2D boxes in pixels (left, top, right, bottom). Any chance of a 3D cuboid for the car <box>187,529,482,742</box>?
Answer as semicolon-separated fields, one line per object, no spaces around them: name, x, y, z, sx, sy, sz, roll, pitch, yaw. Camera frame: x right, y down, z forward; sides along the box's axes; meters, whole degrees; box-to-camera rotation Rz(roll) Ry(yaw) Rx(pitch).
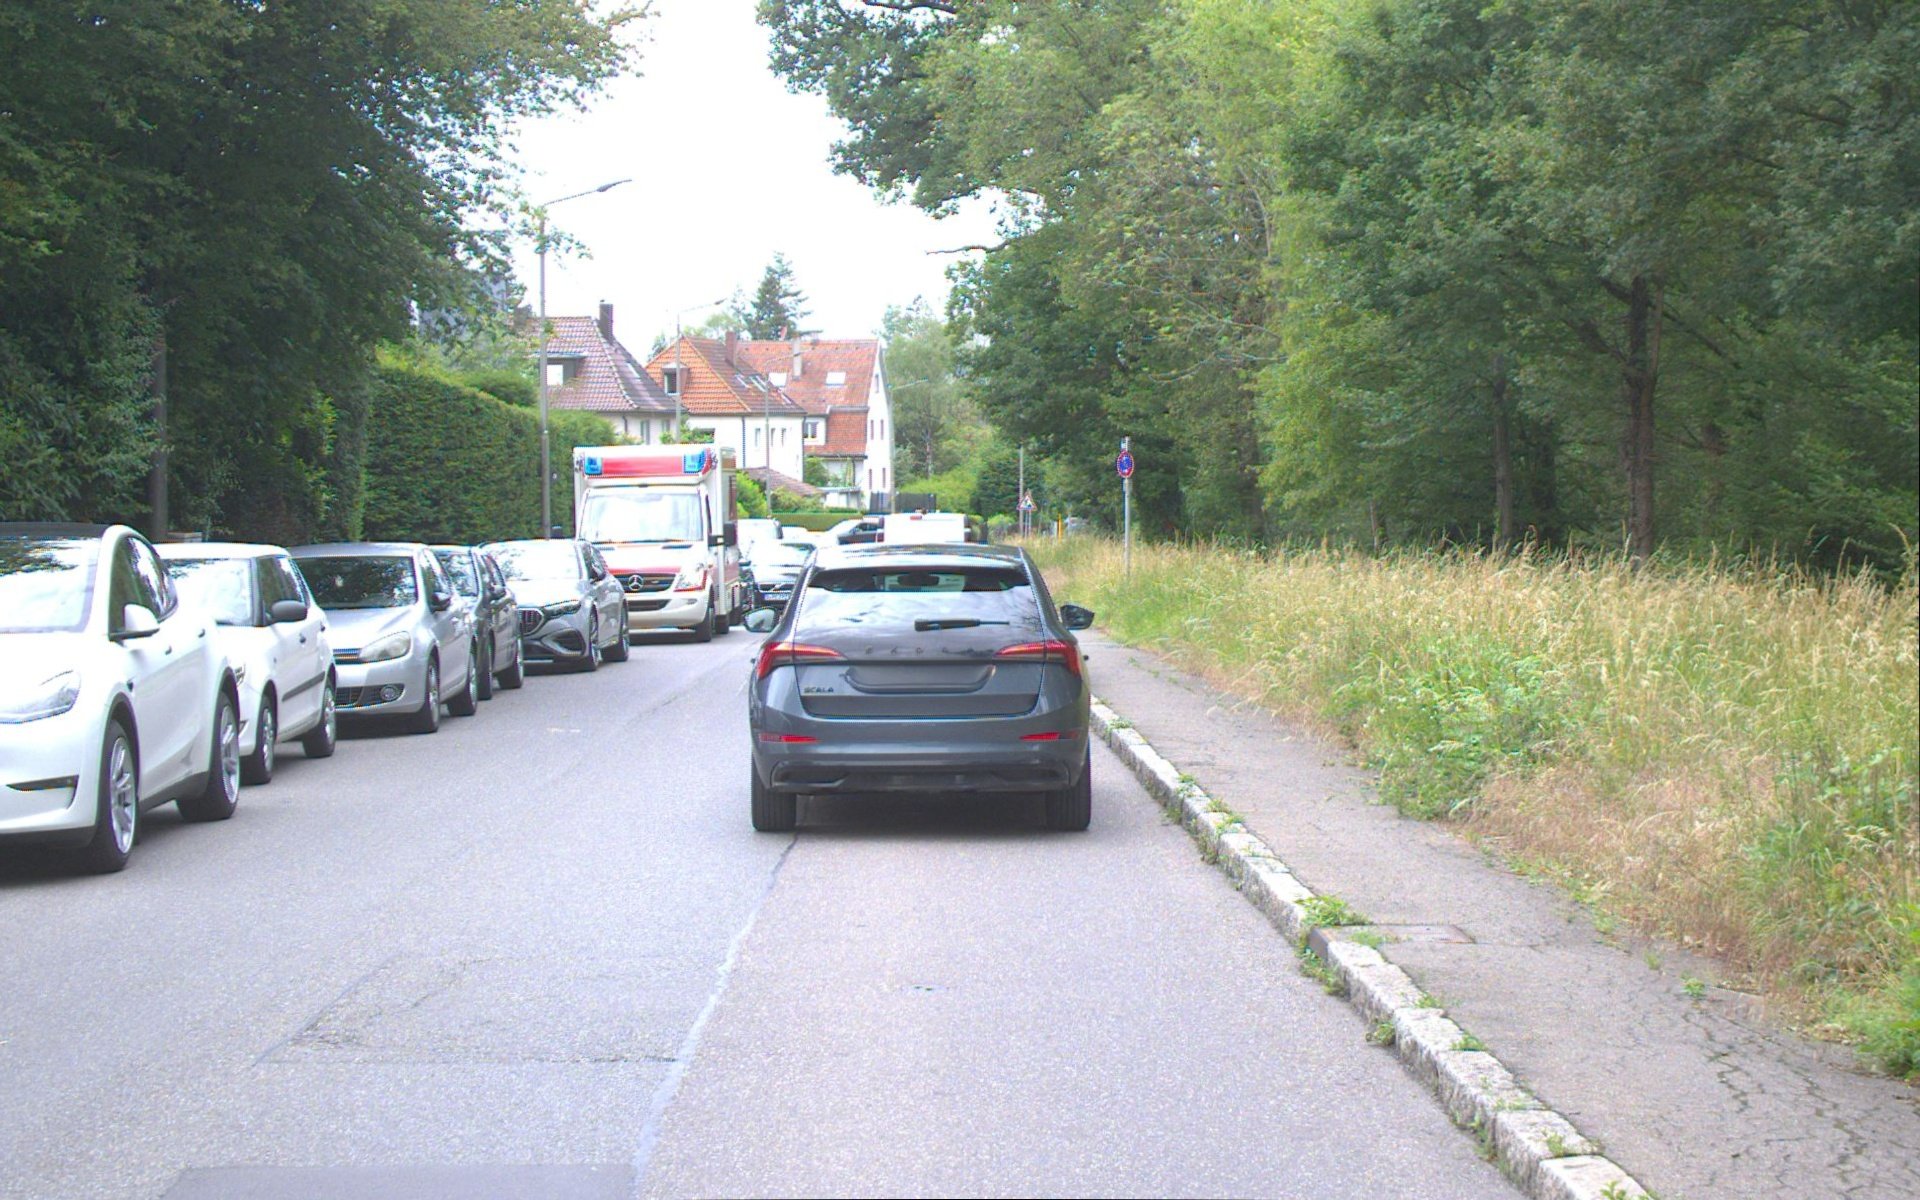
car;-4.873;0.228;27.271;1.720;1.499;4.008;-2;1;-2

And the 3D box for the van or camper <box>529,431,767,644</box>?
van or camper;-4.470;-0.924;50.621;2.456;2.885;7.167;-1;1;3

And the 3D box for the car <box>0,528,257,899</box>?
car;-4.785;0.462;16.855;1.916;1.556;4.605;-2;1;-3

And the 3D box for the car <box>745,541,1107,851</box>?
car;-0.294;0.425;18.679;1.727;1.434;4.324;1;1;-4

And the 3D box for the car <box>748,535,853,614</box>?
car;-3.060;-0.527;66.658;1.763;1.441;4.474;-1;1;0

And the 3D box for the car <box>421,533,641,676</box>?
car;-4.905;0.003;39.930;1.798;1.499;4.863;-2;1;1

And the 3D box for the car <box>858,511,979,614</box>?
car;-0.856;-0.771;67.179;2.071;1.915;4.923;1;1;-4

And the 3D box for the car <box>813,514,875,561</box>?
car;-3.632;-1.966;108.158;1.863;1.409;4.593;1;1;-2

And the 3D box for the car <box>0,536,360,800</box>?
car;-5.052;0.372;22.442;1.720;1.499;3.817;-2;1;-3

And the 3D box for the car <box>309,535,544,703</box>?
car;-5.197;0.140;33.925;1.720;1.499;4.061;-2;1;-1
